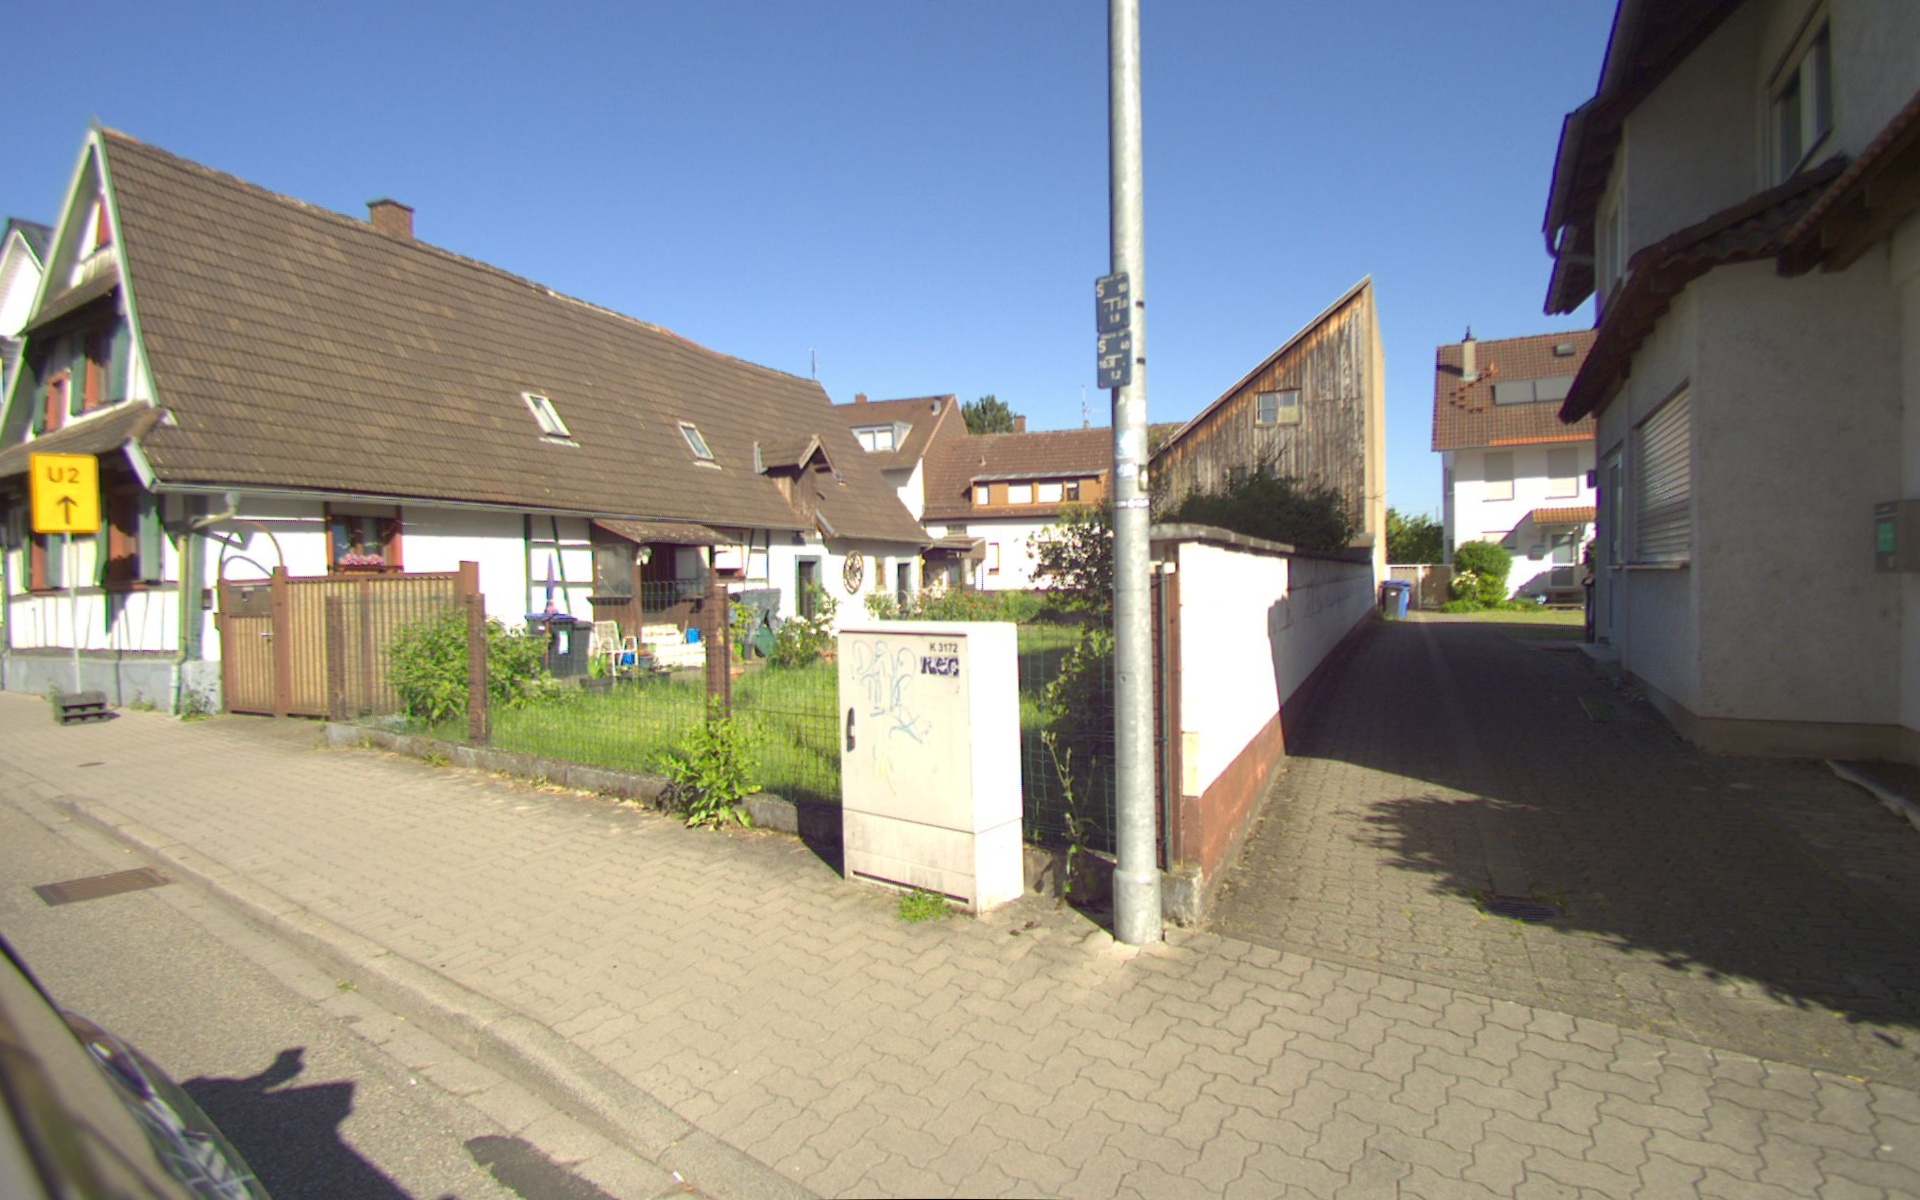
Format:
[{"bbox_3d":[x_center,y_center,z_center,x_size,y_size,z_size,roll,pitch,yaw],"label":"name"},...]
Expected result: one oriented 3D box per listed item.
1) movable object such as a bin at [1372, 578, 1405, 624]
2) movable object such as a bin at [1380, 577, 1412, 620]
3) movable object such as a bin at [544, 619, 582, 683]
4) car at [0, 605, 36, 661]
[{"bbox_3d":[11.517,0.021,27.191,0.779,1.172,0.958,-1,1,25],"label":"movable object such as a bin"},{"bbox_3d":[12.127,-0.044,28.133,0.779,1.172,0.958,-1,1,25],"label":"movable object such as a bin"},{"bbox_3d":[-6.502,0.829,16.564,0.361,1.023,0.414,-1,1,26],"label":"movable object such as a bin"},{"bbox_3d":[-27.538,0.938,27.697,4.148,1.456,1.682,-1,2,22],"label":"car"}]
